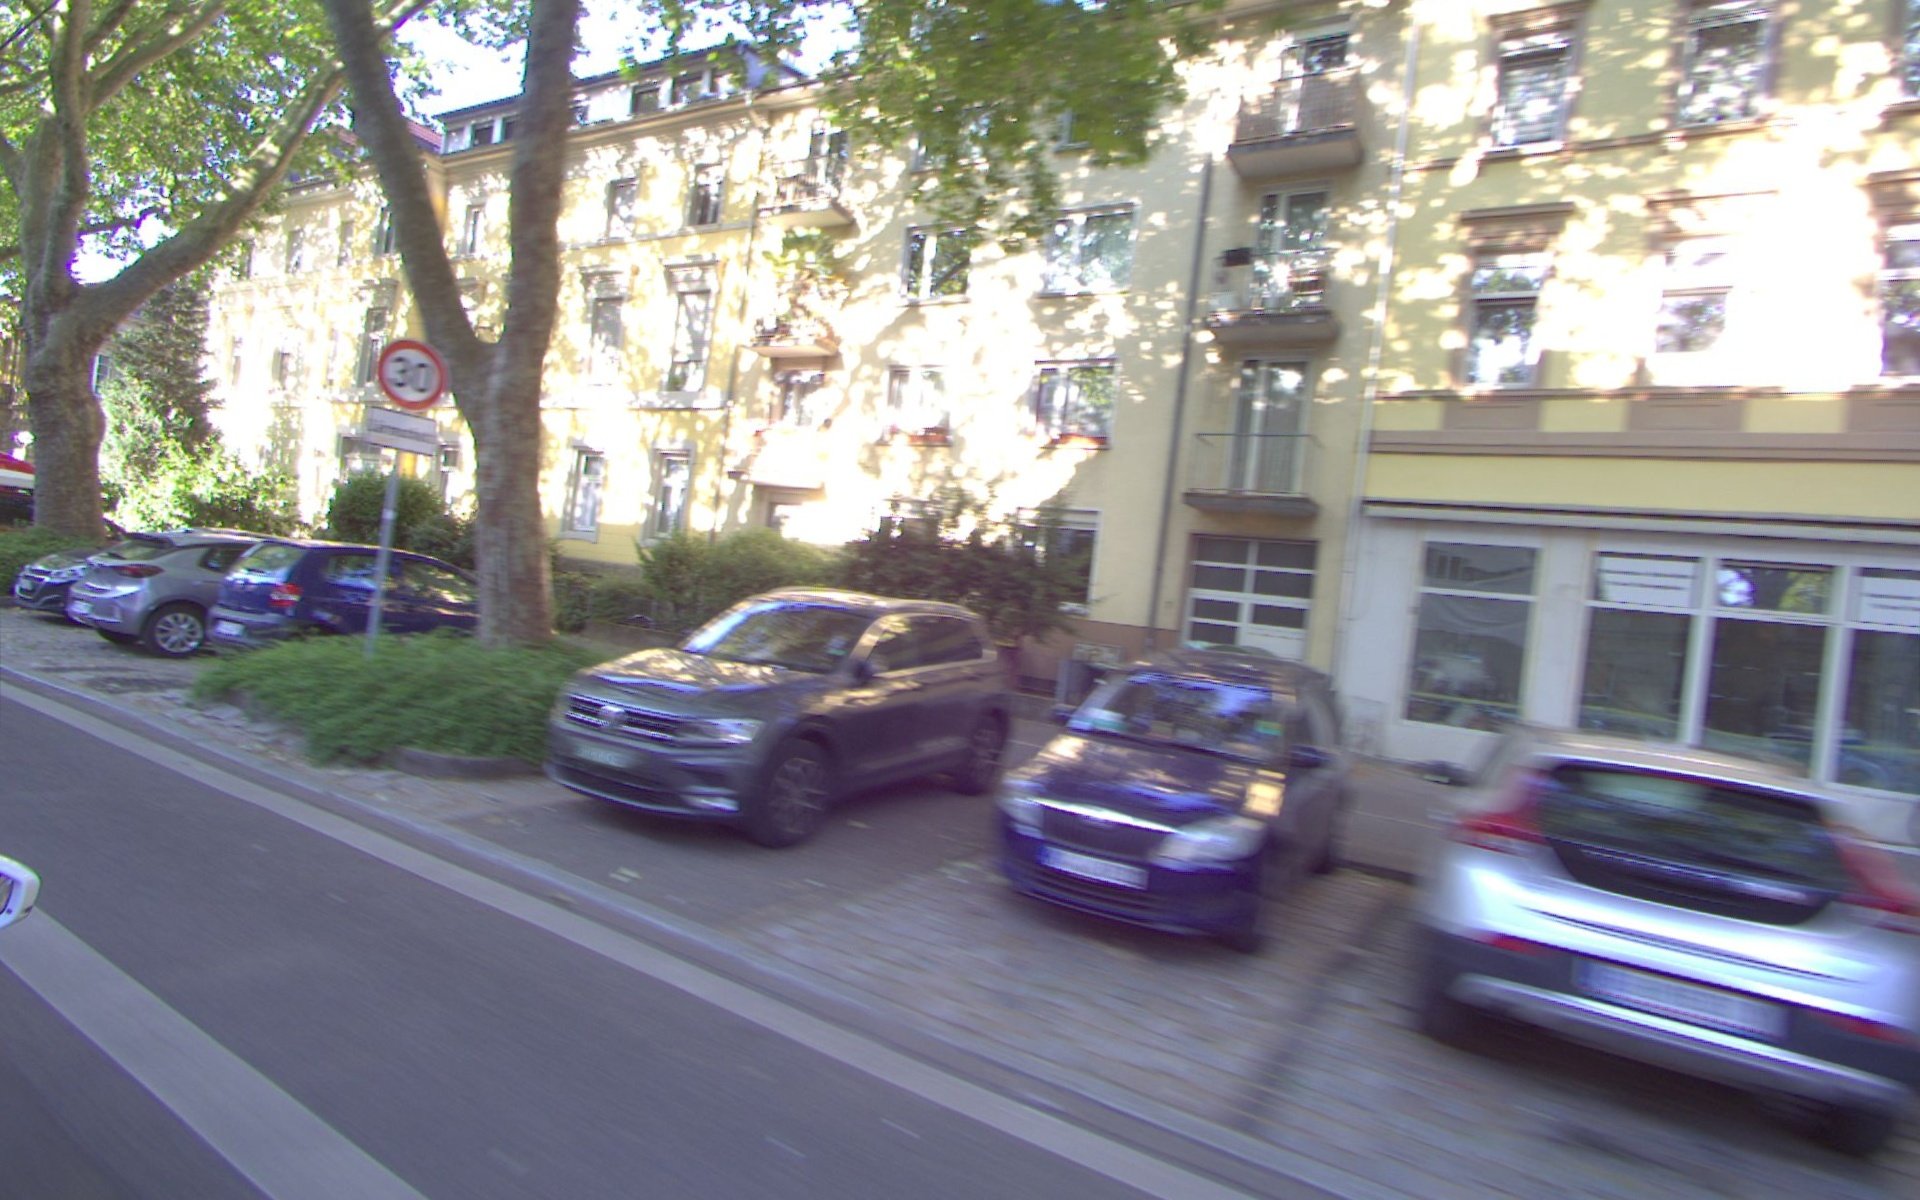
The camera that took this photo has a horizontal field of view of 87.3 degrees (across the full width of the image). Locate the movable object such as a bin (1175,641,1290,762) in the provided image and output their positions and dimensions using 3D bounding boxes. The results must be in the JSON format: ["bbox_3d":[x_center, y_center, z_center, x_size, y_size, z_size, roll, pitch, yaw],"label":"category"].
[{"bbox_3d":[3.767,1.371,13.870,1.099,1.456,1.168,7,1,32],"label":"movable object such as a bin"}]

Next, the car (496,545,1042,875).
[{"bbox_3d":[-1.138,0.692,7.979,1.817,1.741,4.267,7,1,29],"label":"car"}]

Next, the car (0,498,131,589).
[{"bbox_3d":[-18.781,-1.208,19.504,1.640,1.548,3.741,7,0,29],"label":"car"}]

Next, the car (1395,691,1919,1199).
[{"bbox_3d":[3.425,1.390,5.446,1.651,1.498,4.037,7,-1,26],"label":"car"}]

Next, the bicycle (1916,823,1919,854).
[{"bbox_3d":[12.006,2.483,11.259,1.717,1.171,0.470,7,2,32],"label":"bicycle"}]

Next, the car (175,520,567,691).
[{"bbox_3d":[-6.751,0.161,11.903,1.515,1.618,3.601,6,-2,32],"label":"car"}]

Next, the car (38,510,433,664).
[{"bbox_3d":[-8.933,-0.081,12.696,1.665,1.536,3.599,7,0,31],"label":"car"}]

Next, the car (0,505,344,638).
[{"bbox_3d":[-11.335,-0.341,14.586,1.665,1.543,3.673,7,1,31],"label":"car"}]

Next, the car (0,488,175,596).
[{"bbox_3d":[-16.707,-1.086,17.939,1.737,1.669,3.824,5,0,29],"label":"car"}]

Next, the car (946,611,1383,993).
[{"bbox_3d":[1.707,1.113,6.966,1.653,1.663,4.035,7,-1,29],"label":"car"}]

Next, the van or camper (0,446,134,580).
[{"bbox_3d":[-20.652,-1.987,20.145,2.248,2.551,5.822,8,1,29],"label":"van or camper"}]

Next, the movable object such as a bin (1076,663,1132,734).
[{"bbox_3d":[2.107,1.421,14.668,0.458,0.955,0.748,7,1,32],"label":"movable object such as a bin"}]
